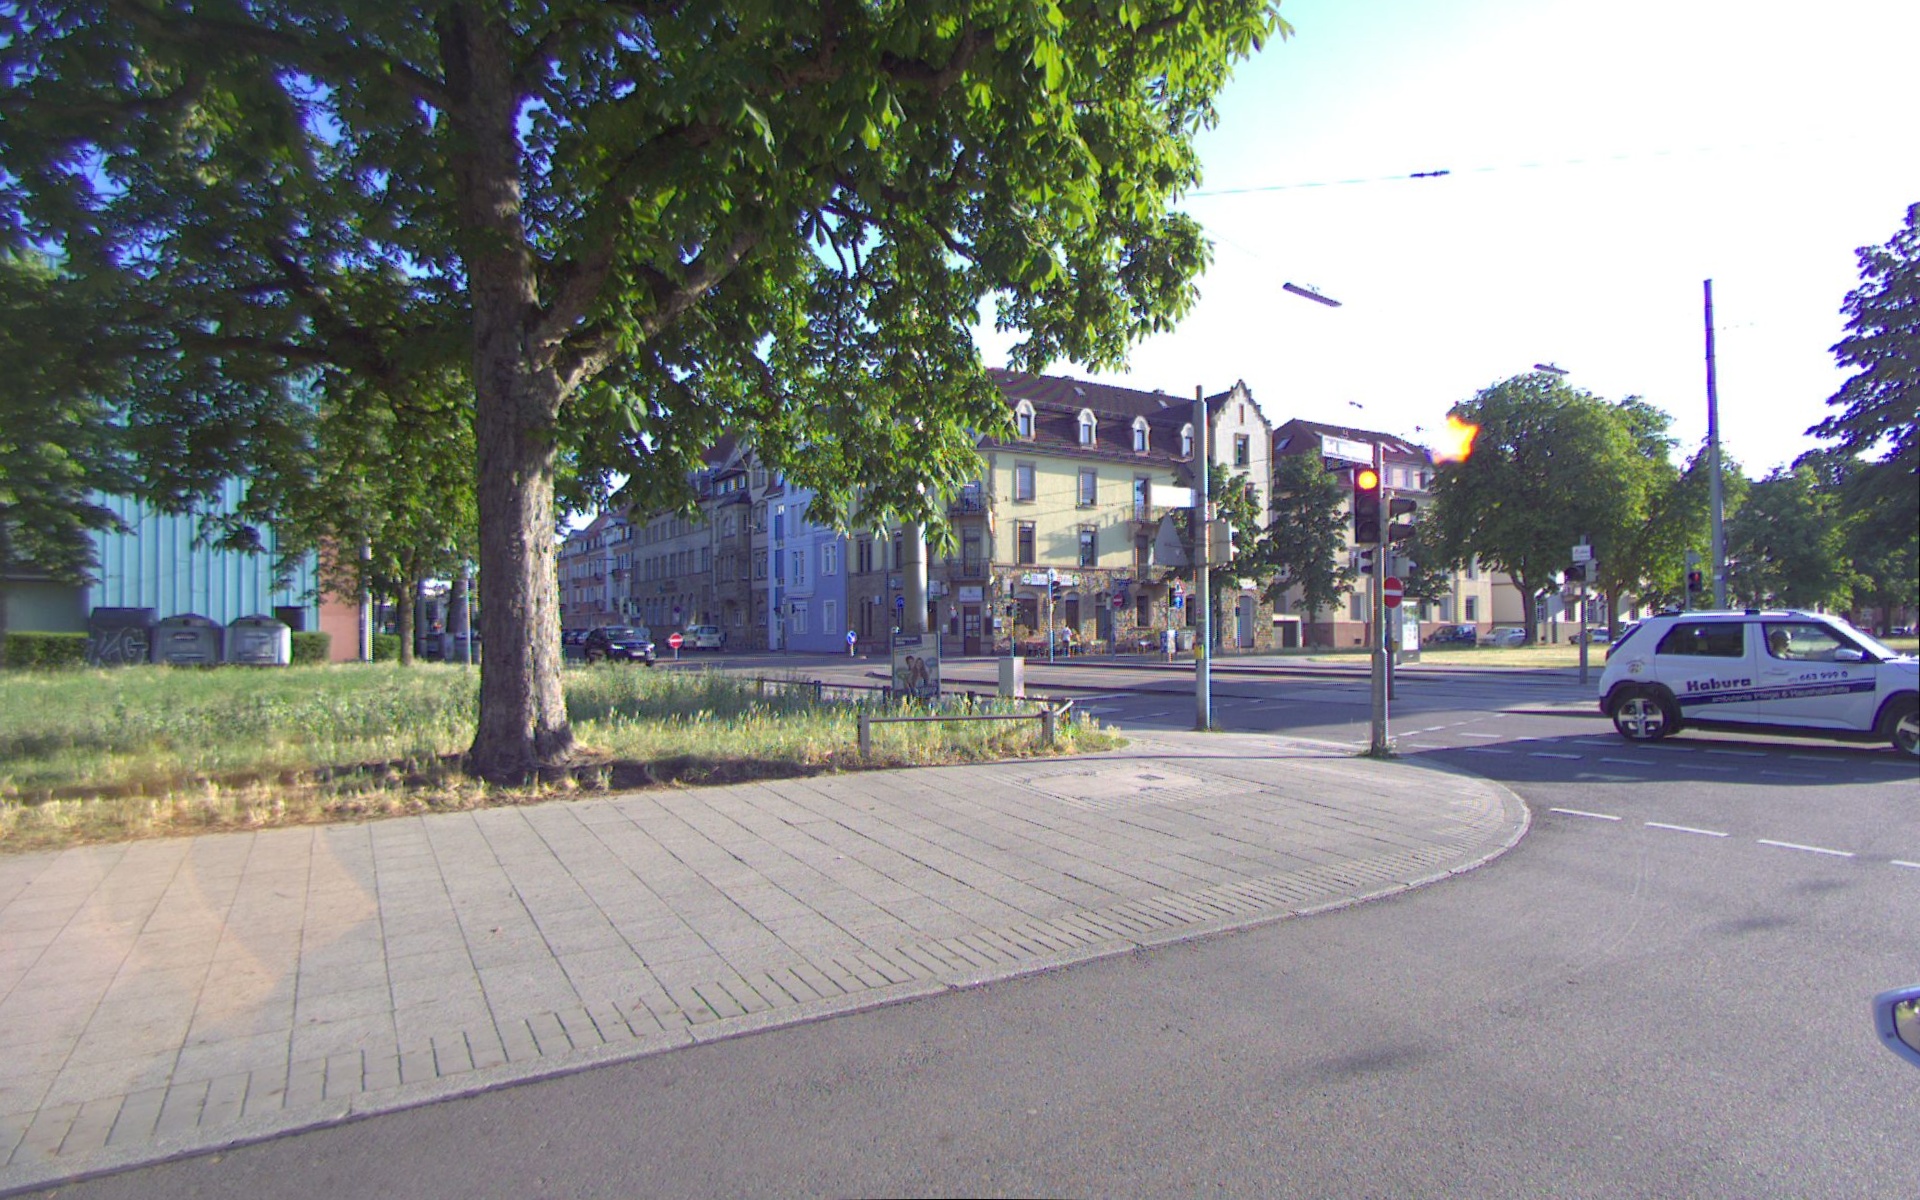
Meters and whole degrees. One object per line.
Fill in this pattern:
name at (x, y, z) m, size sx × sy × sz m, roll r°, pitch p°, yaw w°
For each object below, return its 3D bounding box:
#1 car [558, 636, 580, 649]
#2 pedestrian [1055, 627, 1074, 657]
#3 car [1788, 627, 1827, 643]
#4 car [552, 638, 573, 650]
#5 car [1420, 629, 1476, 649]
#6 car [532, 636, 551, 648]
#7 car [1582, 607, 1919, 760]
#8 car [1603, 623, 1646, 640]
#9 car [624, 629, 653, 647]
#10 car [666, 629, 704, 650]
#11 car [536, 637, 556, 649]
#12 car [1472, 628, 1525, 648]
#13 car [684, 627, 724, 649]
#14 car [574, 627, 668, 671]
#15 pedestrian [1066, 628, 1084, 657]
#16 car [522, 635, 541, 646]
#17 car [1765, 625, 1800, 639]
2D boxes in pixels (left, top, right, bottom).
car at (-45.900, 5.016, 117.901) m, size 1.867 × 1.433 × 4.013 m, roll 1°, pitch -2°, yaw -29°
pedestrian at (5.851, 2.351, 56.215) m, size 0.714 × 1.664 × 0.812 m, roll -1°, pitch -2°, yaw 38°
car at (80.157, 3.316, 94.957) m, size 3.749 × 1.446 × 1.729 m, roll 1°, pitch -1°, yaw -31°
car at (-48.526, 5.349, 122.669) m, size 1.867 × 1.433 × 4.013 m, roll 1°, pitch -2°, yaw -29°
car at (35.455, 2.797, 72.913) m, size 3.741 × 1.416 × 1.733 m, roll 1°, pitch -2°, yaw -26°
car at (-54.638, 5.445, 131.132) m, size 1.867 × 1.433 × 4.013 m, roll 1°, pitch -2°, yaw -29°
car at (9.837, 0.914, 11.952) m, size 1.600 × 1.572 × 3.830 m, roll -1°, pitch -1°, yaw -42°
car at (57.503, 2.699, 86.921) m, size 3.749 × 1.446 × 1.729 m, roll 1°, pitch -1°, yaw -31°
car at (-30.139, 3.526, 94.108) m, size 1.888 × 1.610 × 4.013 m, roll 2°, pitch -2°, yaw -29°
car at (-22.788, 3.270, 83.146) m, size 2.074 × 1.612 × 4.014 m, roll 2°, pitch -2°, yaw -29°
car at (-52.372, 5.457, 126.926) m, size 1.867 × 1.433 × 4.013 m, roll 1°, pitch -1°, yaw -29°
car at (40.896, 2.864, 76.293) m, size 3.741 × 1.446 × 1.732 m, roll 1°, pitch -1°, yaw -26°
car at (-20.031, 2.967, 78.468) m, size 2.074 × 1.612 × 4.014 m, roll 2°, pitch -2°, yaw -29°
car at (-13.950, 1.957, 41.176) m, size 1.867 × 1.685 × 4.503 m, roll 1°, pitch -2°, yaw -45°
pedestrian at (6.517, 2.423, 57.147) m, size 0.715 × 1.664 × 0.811 m, roll 0°, pitch -1°, yaw -23°
car at (-57.568, 5.384, 134.936) m, size 1.867 × 1.433 × 4.013 m, roll 1°, pitch -2°, yaw -29°
car at (86.075, 3.346, 105.085) m, size 3.749 × 1.446 × 1.729 m, roll 1°, pitch -1°, yaw -31°
